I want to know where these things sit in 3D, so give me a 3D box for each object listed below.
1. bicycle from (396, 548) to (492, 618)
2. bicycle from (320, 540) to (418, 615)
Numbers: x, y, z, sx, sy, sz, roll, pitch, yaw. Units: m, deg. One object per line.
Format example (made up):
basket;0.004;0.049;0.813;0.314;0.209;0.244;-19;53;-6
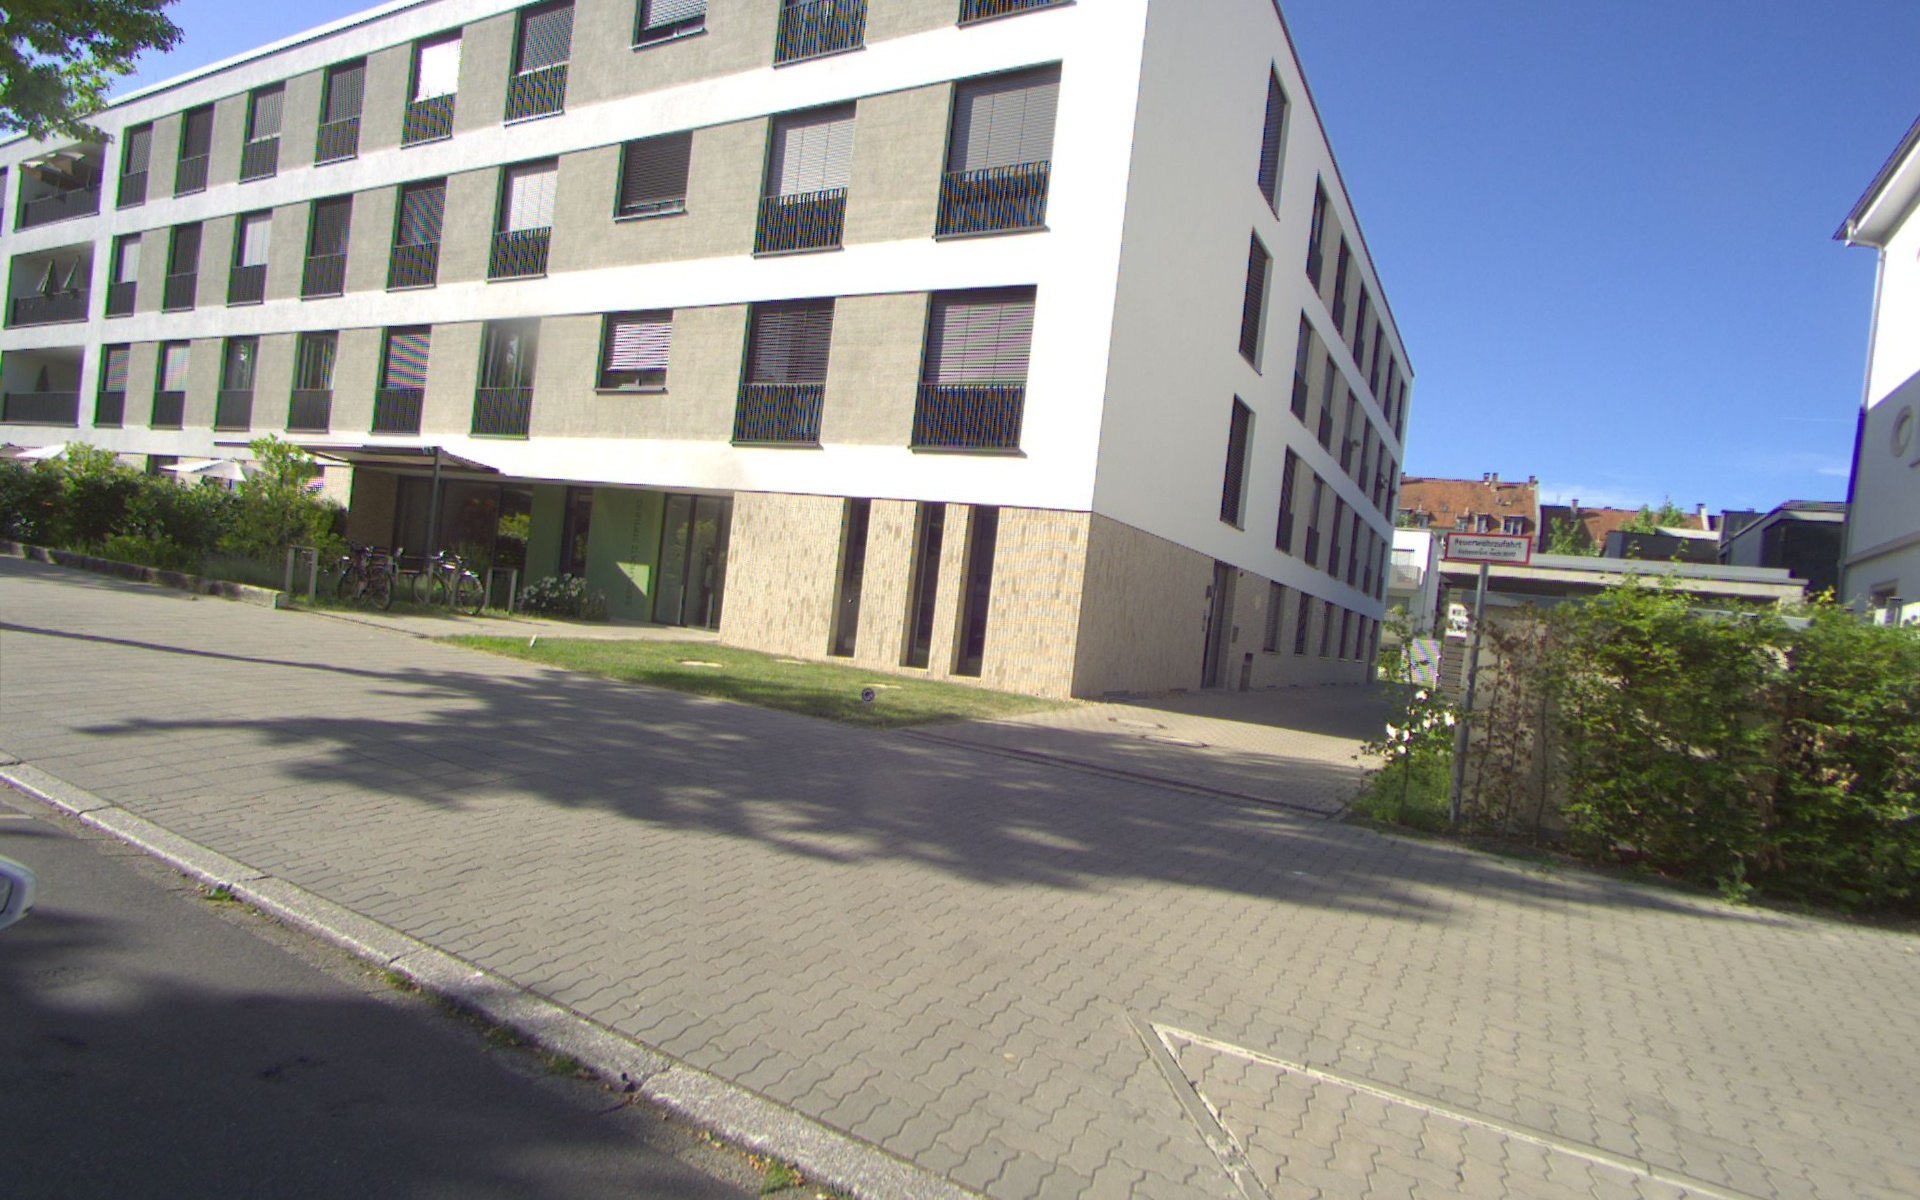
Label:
bicycle;-9.247;-0.306;18.014;1.749;1.068;0.547;6;2;27
bicycle;-9.883;-0.383;16.807;1.662;1.068;0.547;6;2;27
